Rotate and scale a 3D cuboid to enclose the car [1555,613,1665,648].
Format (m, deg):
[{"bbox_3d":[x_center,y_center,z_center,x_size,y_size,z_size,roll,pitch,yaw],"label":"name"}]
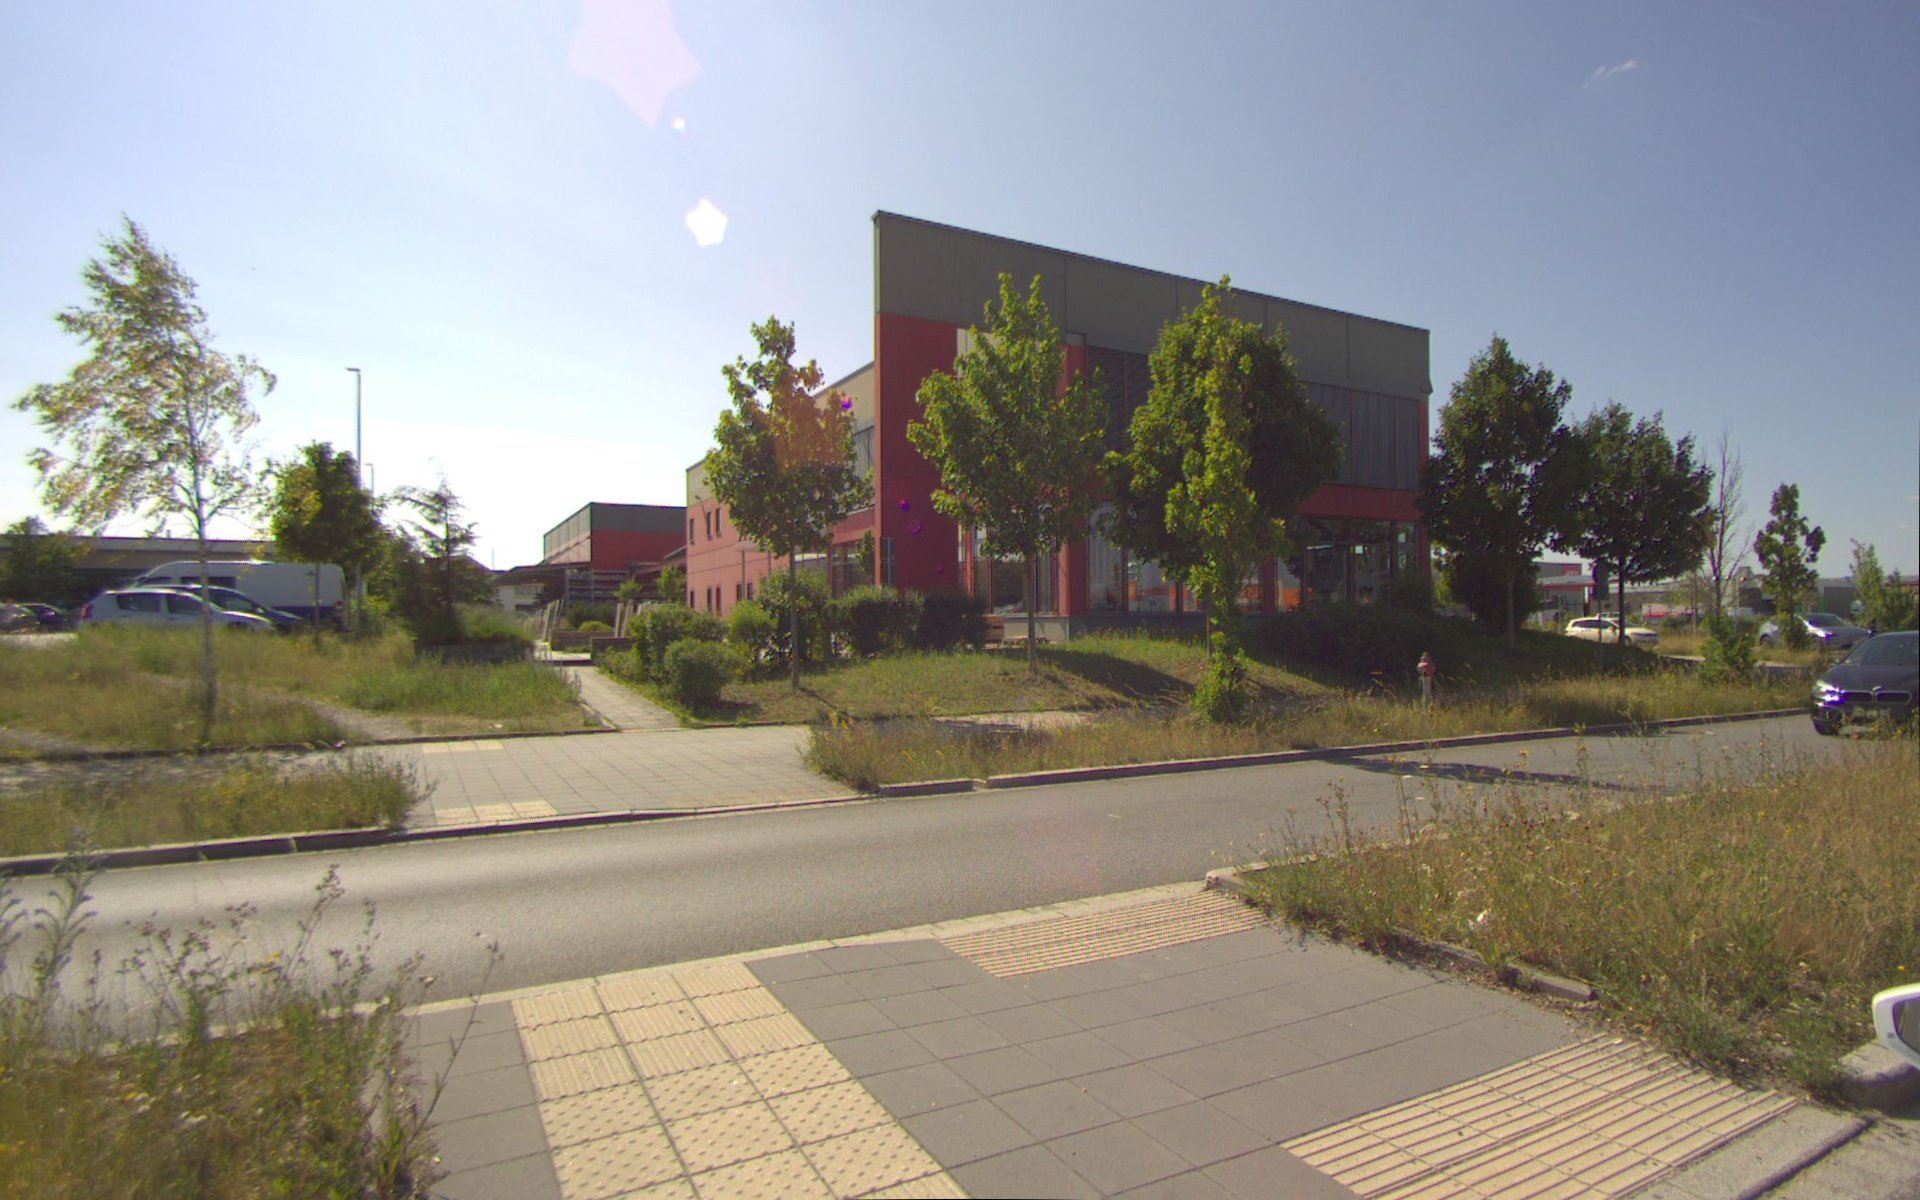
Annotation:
[{"bbox_3d":[33.900,1.641,52.524,1.819,1.687,4.569,-1,-2,-21],"label":"car"}]

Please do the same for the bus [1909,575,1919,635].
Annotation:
[{"bbox_3d":[55.957,0.033,51.392,11.962,3.120,2.797,-2,-1,0],"label":"bus"}]

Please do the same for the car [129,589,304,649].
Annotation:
[{"bbox_3d":[-22.129,0.580,30.115,4.038,1.693,1.652,1,-1,-32],"label":"car"}]

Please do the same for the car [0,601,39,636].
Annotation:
[{"bbox_3d":[-46.148,0.857,46.901,4.331,1.613,1.823,1,-1,-31],"label":"car"}]

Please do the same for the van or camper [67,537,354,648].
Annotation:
[{"bbox_3d":[-23.958,-0.150,32.649,7.149,3.314,2.419,1,-1,-30],"label":"van or camper"}]

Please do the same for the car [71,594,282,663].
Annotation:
[{"bbox_3d":[-19.765,0.724,25.574,4.038,1.636,1.652,1,-1,-32],"label":"car"}]

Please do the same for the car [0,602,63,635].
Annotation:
[{"bbox_3d":[-50.077,0.948,52.716,4.170,1.707,1.795,1,-1,-30],"label":"car"}]

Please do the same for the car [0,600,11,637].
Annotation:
[{"bbox_3d":[-45.048,0.802,44.294,4.331,1.634,1.823,1,-1,-31],"label":"car"}]

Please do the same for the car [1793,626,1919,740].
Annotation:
[{"bbox_3d":[14.702,1.196,15.319,4.192,1.563,1.750,1,-4,-31],"label":"car"}]

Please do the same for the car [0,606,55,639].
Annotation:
[{"bbox_3d":[-47.202,1.072,48.941,4.331,1.593,1.823,1,-1,-31],"label":"car"}]

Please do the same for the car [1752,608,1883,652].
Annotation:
[{"bbox_3d":[34.705,1.180,40.827,1.924,1.648,4.627,-1,0,10],"label":"car"}]
